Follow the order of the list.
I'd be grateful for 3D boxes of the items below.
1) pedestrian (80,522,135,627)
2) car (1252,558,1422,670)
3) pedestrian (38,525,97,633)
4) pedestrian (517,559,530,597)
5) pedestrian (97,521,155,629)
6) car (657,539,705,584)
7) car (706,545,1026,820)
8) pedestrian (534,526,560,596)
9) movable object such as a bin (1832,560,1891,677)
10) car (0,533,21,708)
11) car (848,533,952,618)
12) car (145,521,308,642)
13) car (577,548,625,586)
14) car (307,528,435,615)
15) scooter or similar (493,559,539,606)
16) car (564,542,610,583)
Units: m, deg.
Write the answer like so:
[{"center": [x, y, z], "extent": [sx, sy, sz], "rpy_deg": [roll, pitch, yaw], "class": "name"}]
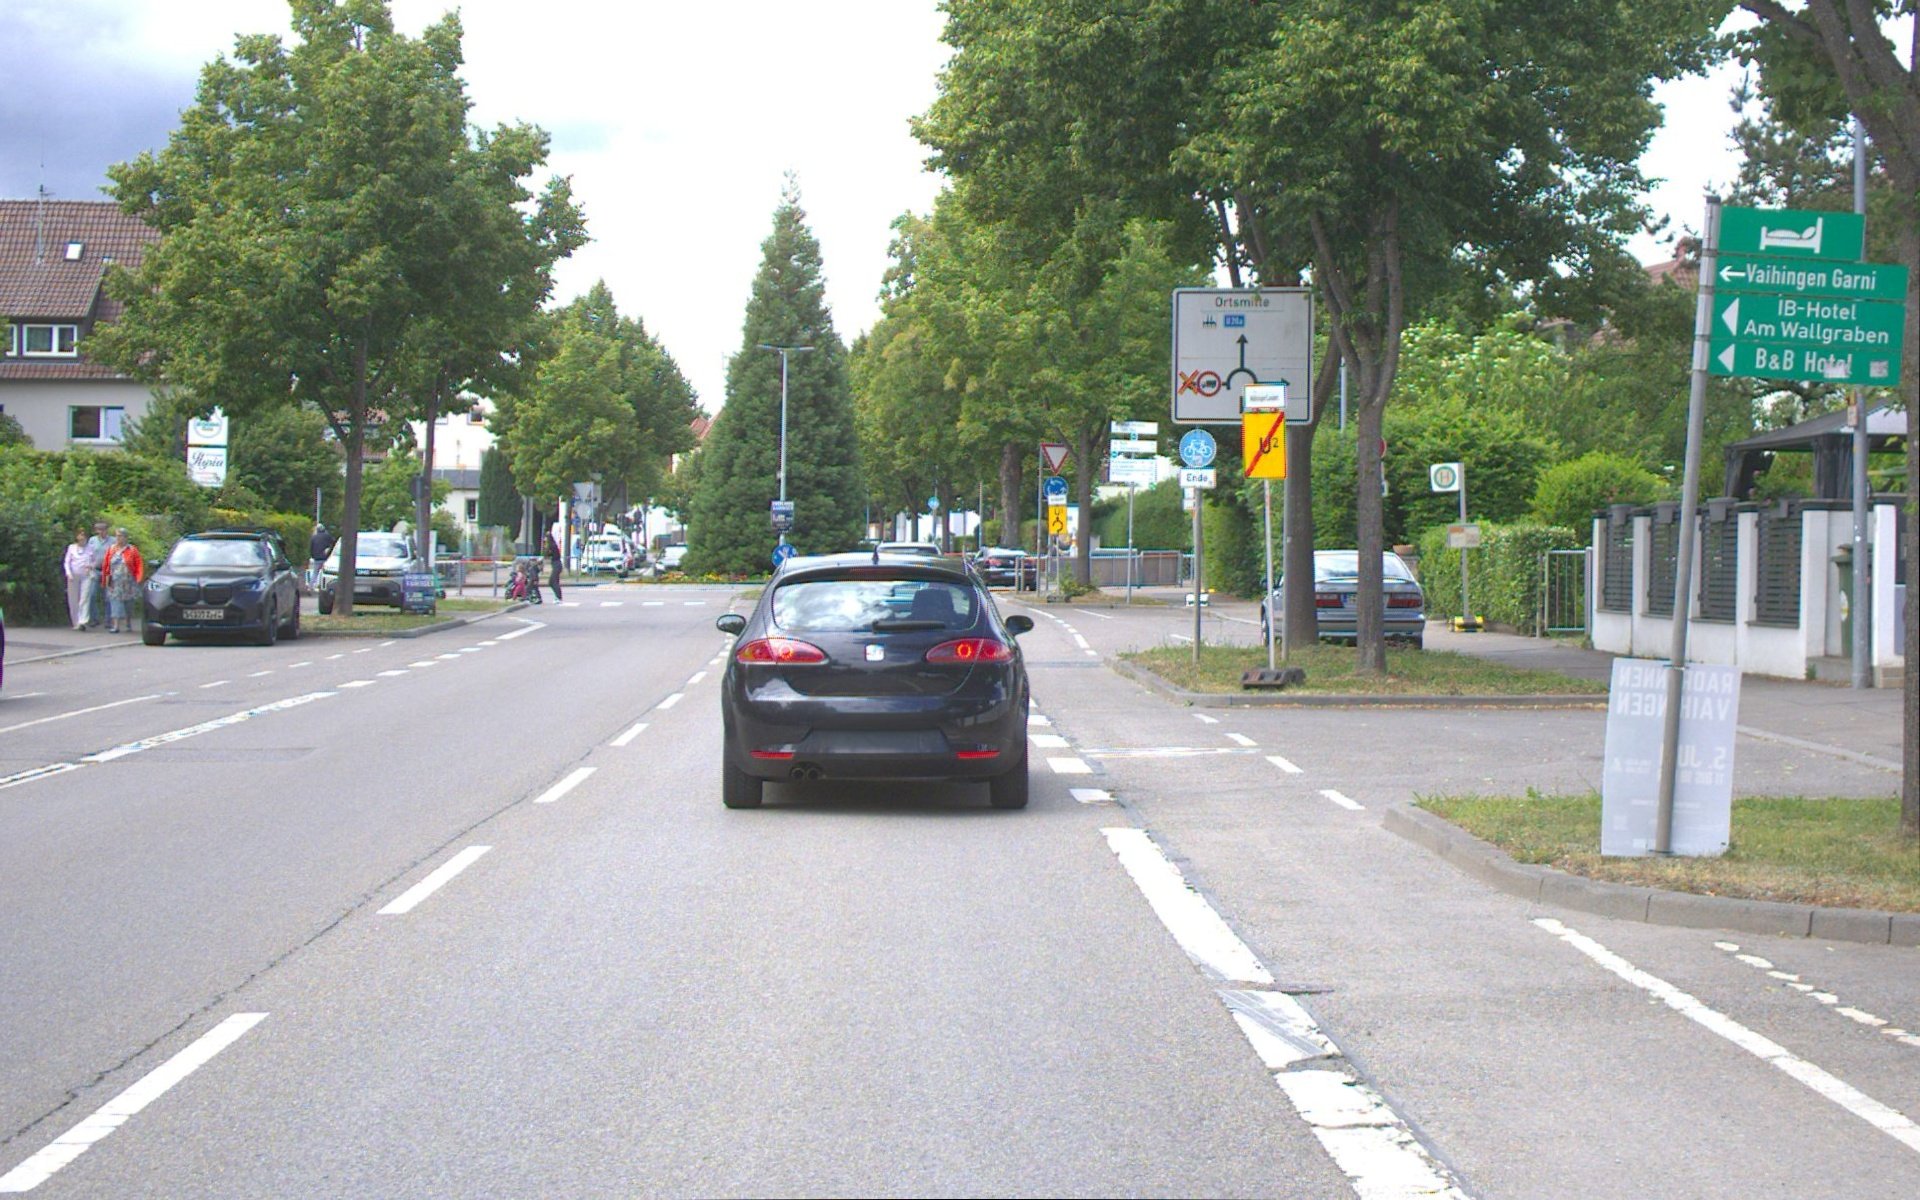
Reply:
[{"center": [-13.494, -0.406, 54.450], "extent": [0.786, 1.658, 0.592], "rpy_deg": [0, 1, -8], "class": "pedestrian"}, {"center": [4.825, 0.195, 44.487], "extent": [1.611, 1.372, 4.387], "rpy_deg": [0, -1, -1], "class": "car"}, {"center": [-13.779, -0.326, 53.066], "extent": [0.786, 1.658, 0.882], "rpy_deg": [0, 1, -8], "class": "pedestrian"}, {"center": [-10.463, -0.532, 82.362], "extent": [0.238, 0.891, 0.260], "rpy_deg": [-1, 1, -27], "class": "pedestrian"}, {"center": [-12.989, -0.390, 53.553], "extent": [0.786, 1.658, 0.754], "rpy_deg": [1, 1, -8], "class": "pedestrian"}, {"center": [-10.232, -1.410, 126.134], "extent": [1.568, 1.628, 3.622], "rpy_deg": [0, 1, -2], "class": "car"}, {"center": [-0.475, 0.421, 20.607], "extent": [1.732, 1.481, 4.000], "rpy_deg": [0, 1, 1], "class": "car"}, {"center": [-9.984, -0.941, 83.088], "extent": [0.514, 1.664, 0.483], "rpy_deg": [0, 1, -19], "class": "pedestrian"}, {"center": [8.615, 0.174, 32.867], "extent": [0.436, 1.106, 0.454], "rpy_deg": [0, 1, 0], "class": "movable object such as a bin"}, {"center": [-9.748, 0.212, 30.631], "extent": [1.820, 1.628, 4.587], "rpy_deg": [0, 1, -4], "class": "car"}, {"center": [-1.173, -0.490, 68.306], "extent": [1.993, 1.607, 4.000], "rpy_deg": [1, 1, -1], "class": "car"}, {"center": [-11.038, -0.298, 52.021], "extent": [1.724, 1.719, 4.565], "rpy_deg": [1, 1, -3], "class": "car"}, {"center": [-15.224, -1.410, 145.932], "extent": [1.797, 1.596, 4.001], "rpy_deg": [0, 1, -3], "class": "car"}, {"center": [-11.704, -0.572, 68.500], "extent": [1.860, 1.648, 4.294], "rpy_deg": [1, 1, -1], "class": "car"}, {"center": [-10.689, -0.429, 82.779], "extent": [0.966, 1.092, 0.407], "rpy_deg": [3, 0, -20], "class": "scooter or similar"}, {"center": [-17.772, -1.798, 163.981], "extent": [2.029, 1.964, 4.001], "rpy_deg": [0, 1, -4], "class": "car"}]
